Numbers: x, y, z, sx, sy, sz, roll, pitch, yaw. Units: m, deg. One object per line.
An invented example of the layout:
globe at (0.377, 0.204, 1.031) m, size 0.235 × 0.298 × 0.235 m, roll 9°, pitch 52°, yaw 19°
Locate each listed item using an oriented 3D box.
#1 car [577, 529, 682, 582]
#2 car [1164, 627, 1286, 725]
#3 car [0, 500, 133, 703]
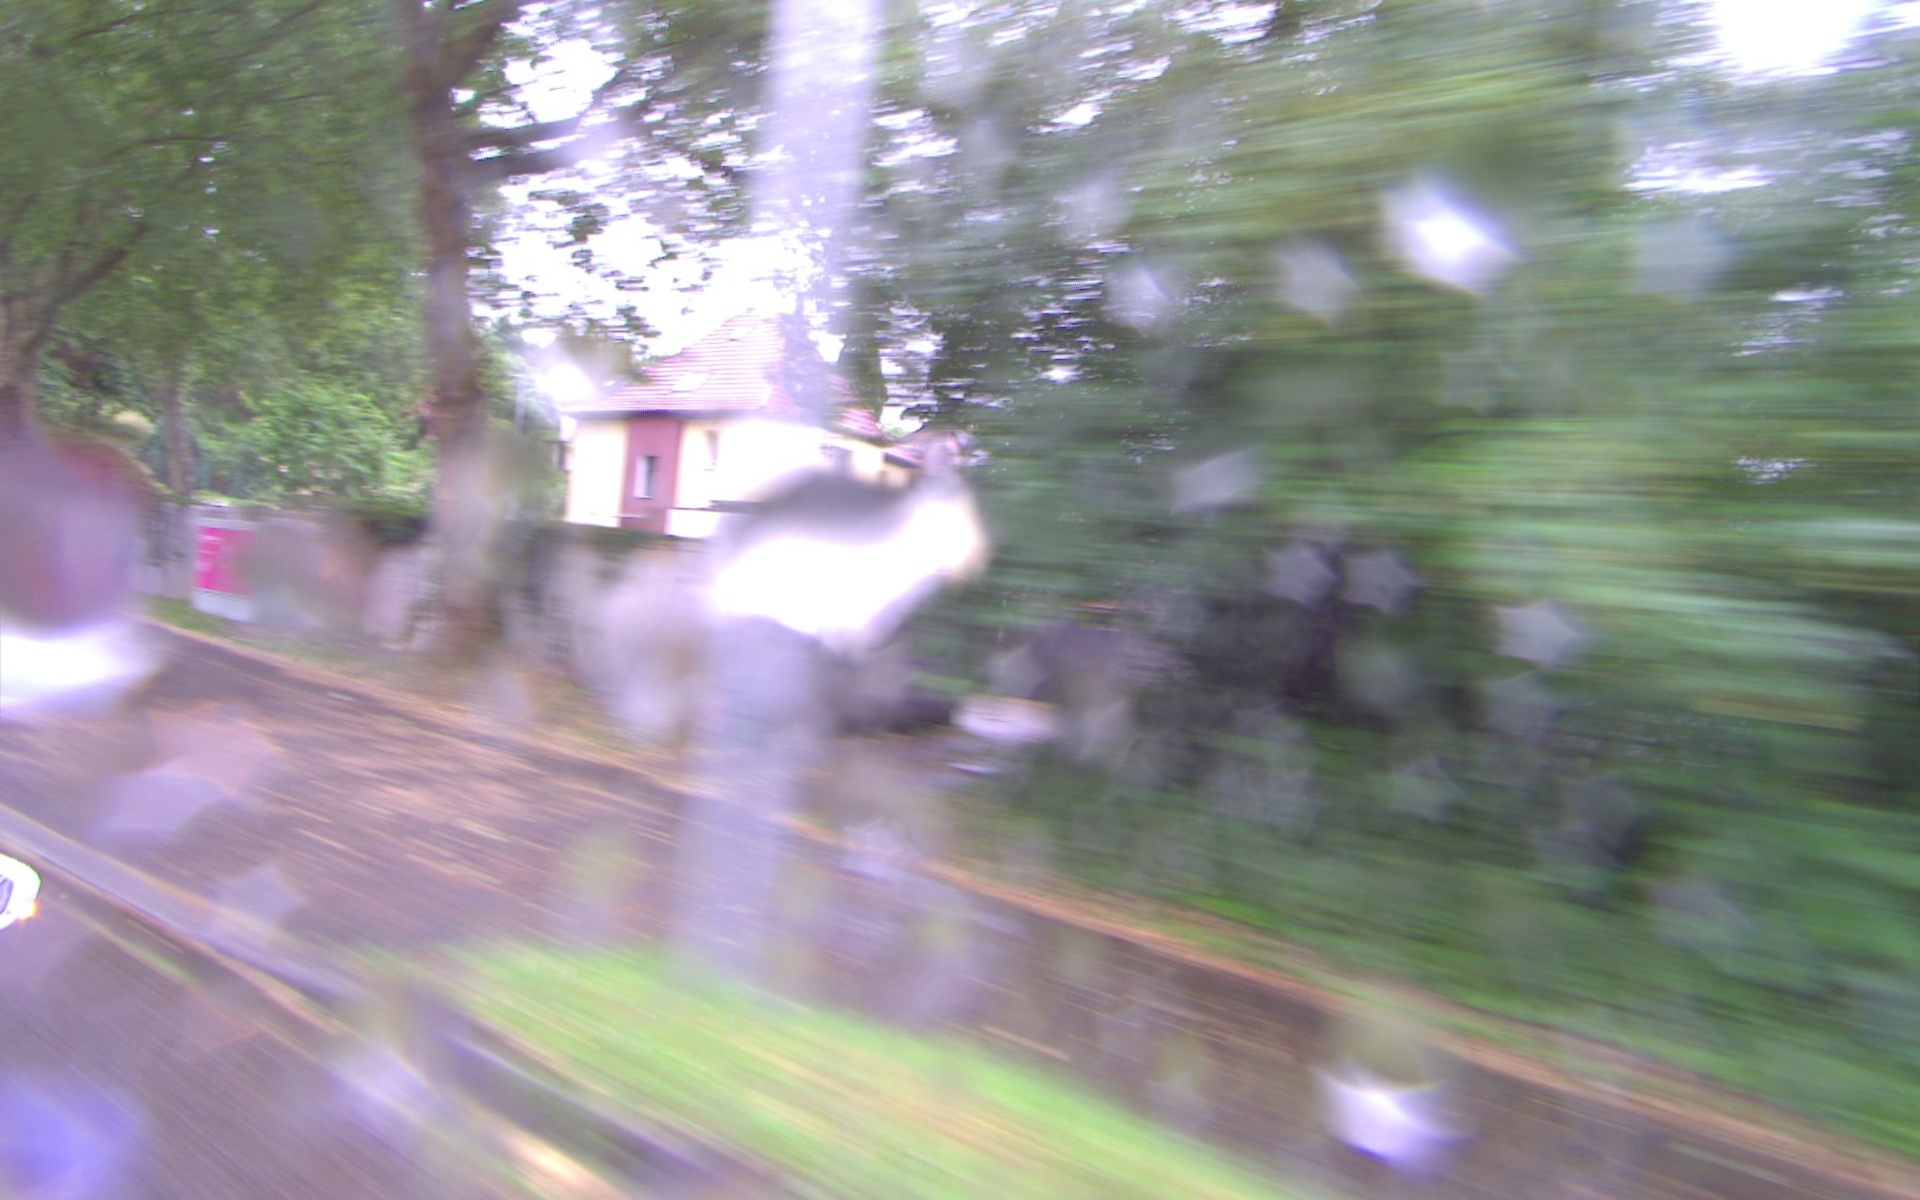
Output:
car at (-11.265, -1.517, 34.283) m, size 3.373 × 1.490 × 1.487 m, roll 5°, pitch 1°, yaw 31°
car at (6.742, 1.896, 25.234) m, size 1.746 × 2.064 × 4.695 m, roll 6°, pitch -1°, yaw 28°
car at (-9.281, -0.283, 8.665) m, size 3.677 × 1.531 × 1.829 m, roll 9°, pitch -6°, yaw 28°
